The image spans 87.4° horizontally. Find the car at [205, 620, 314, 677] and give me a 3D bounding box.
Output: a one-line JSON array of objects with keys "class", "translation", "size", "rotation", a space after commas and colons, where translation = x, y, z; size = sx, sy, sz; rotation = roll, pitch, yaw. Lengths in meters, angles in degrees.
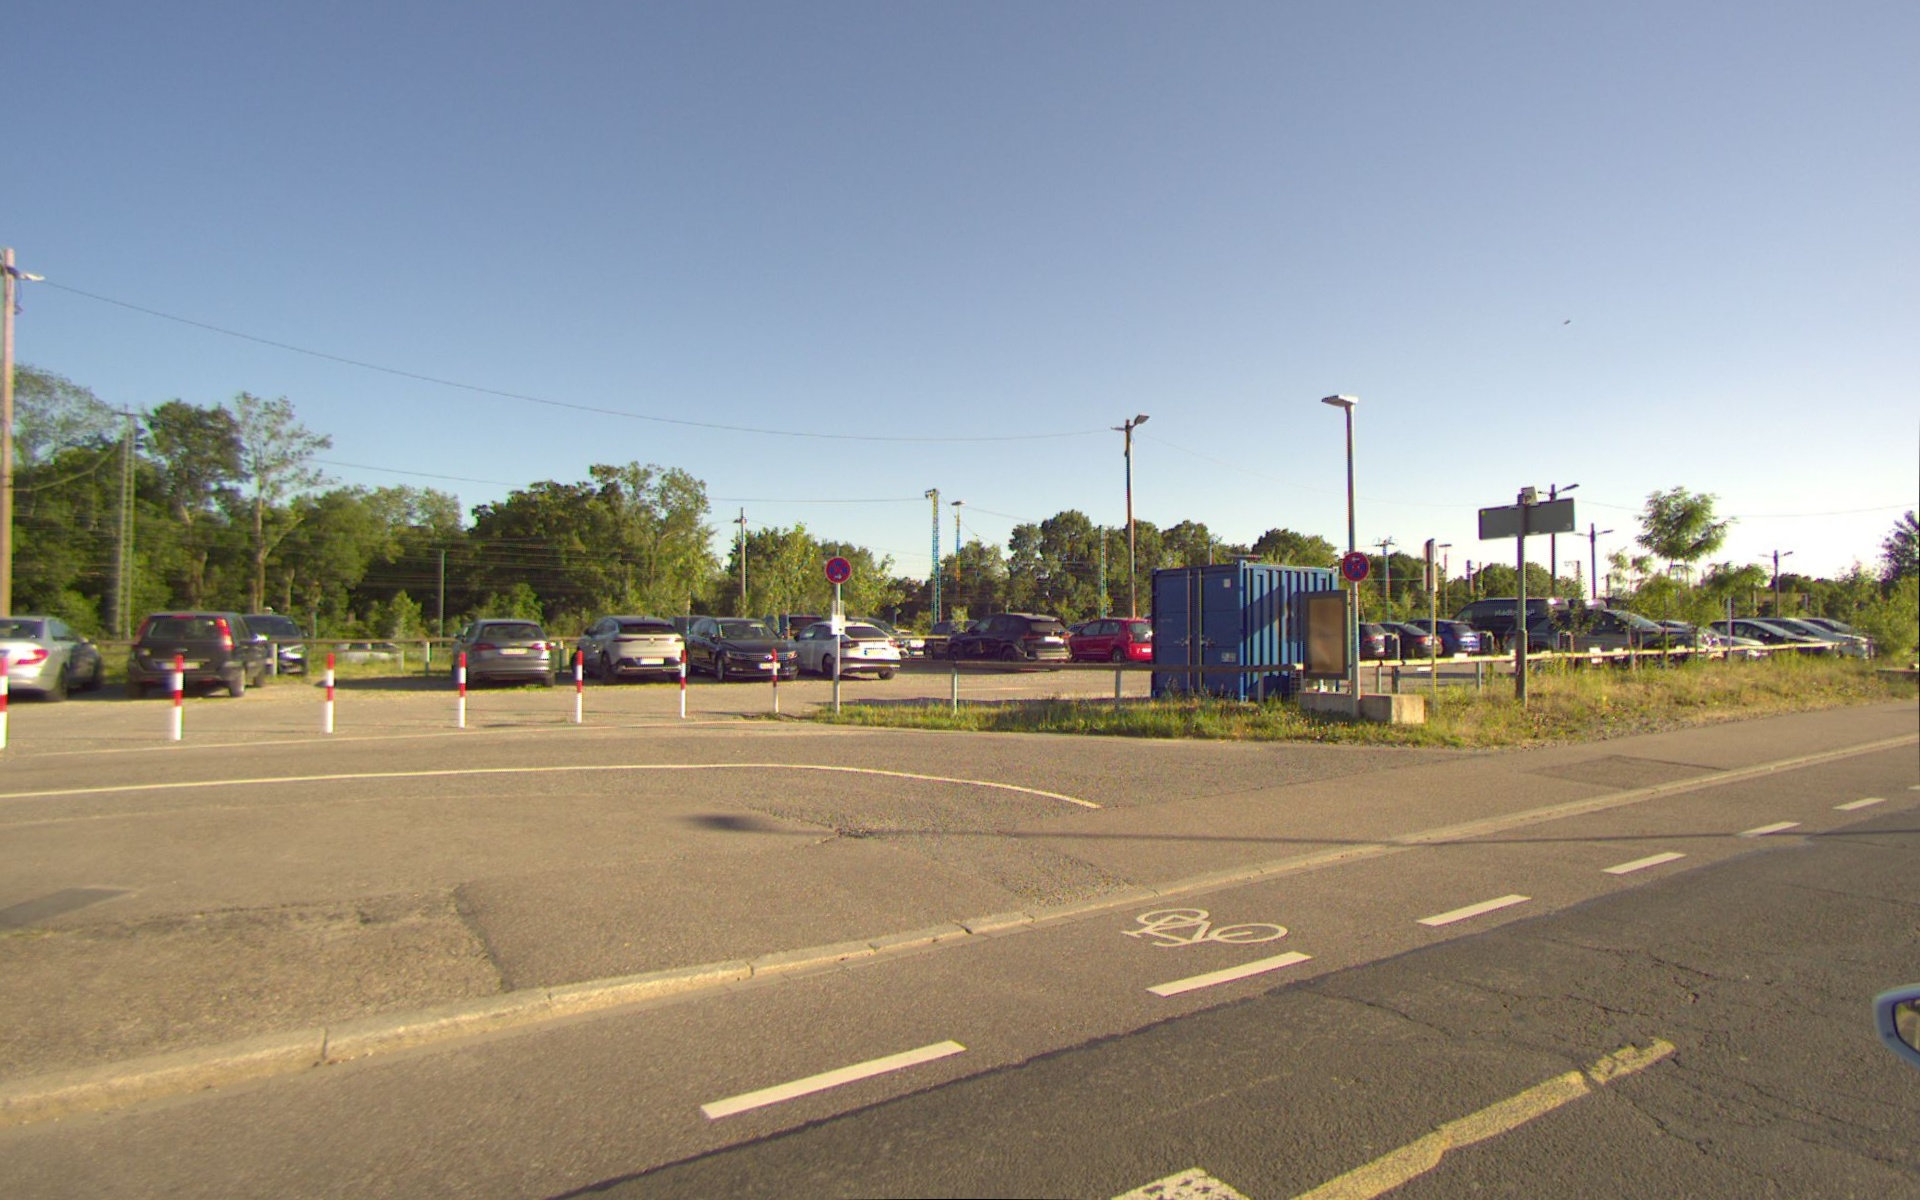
[{"class": "car", "translation": [-16.336, 1.085, 23.593], "size": [1.857, 1.203, 3.862], "rotation": [1, -1, -31]}]

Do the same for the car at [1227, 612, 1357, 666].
[{"class": "car", "translation": [11.922, 1.351, 36.304], "size": [1.858, 1.815, 4.298], "rotation": [1, -1, -32]}]

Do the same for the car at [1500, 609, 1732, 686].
[{"class": "car", "translation": [17.272, 1.181, 26.703], "size": [1.978, 1.859, 4.818], "rotation": [1, -1, -32]}]

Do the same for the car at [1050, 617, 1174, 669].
[{"class": "car", "translation": [4.746, 1.311, 31.818], "size": [1.858, 1.540, 3.861], "rotation": [1, -1, -32]}]

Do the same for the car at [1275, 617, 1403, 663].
[{"class": "car", "translation": [14.181, 1.449, 37.790], "size": [1.858, 1.639, 4.298], "rotation": [1, -1, -32]}]

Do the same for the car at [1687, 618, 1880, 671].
[{"class": "car", "translation": [26.635, 1.399, 32.647], "size": [1.858, 1.578, 4.517], "rotation": [1, -1, -32]}]

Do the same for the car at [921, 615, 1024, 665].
[{"class": "car", "translation": [0.385, 1.329, 34.724], "size": [1.856, 1.625, 3.864], "rotation": [1, -1, -30]}]

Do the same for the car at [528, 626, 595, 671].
[{"class": "car", "translation": [-14.929, 1.759, 37.516], "size": [1.734, 1.574, 3.703], "rotation": [1, -1, -31]}]

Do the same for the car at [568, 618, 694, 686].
[{"class": "car", "translation": [-7.878, 1.149, 23.798], "size": [1.858, 1.438, 4.298], "rotation": [1, -1, -32]}]

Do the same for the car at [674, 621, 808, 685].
[{"class": "car", "translation": [-5.440, 1.220, 24.553], "size": [1.858, 1.394, 4.298], "rotation": [1, -1, -32]}]

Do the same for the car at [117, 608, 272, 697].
[{"class": "car", "translation": [-14.442, 0.916, 19.184], "size": [1.857, 1.482, 4.300], "rotation": [1, -1, -31]}]

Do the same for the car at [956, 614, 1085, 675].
[{"class": "car", "translation": [1.674, 1.236, 28.989], "size": [1.858, 1.625, 3.861], "rotation": [1, -1, -32]}]

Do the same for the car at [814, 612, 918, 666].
[{"class": "car", "translation": [-3.082, 1.195, 32.319], "size": [1.787, 1.625, 3.861], "rotation": [1, -1, -32]}]

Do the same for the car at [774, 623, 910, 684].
[{"class": "car", "translation": [-3.160, 1.321, 26.121], "size": [1.858, 1.394, 4.298], "rotation": [1, -1, -32]}]

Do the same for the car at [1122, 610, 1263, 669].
[{"class": "car", "translation": [7.477, 1.240, 32.767], "size": [2.032, 1.764, 4.562], "rotation": [1, -1, -28]}]

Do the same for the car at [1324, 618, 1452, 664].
[{"class": "car", "translation": [16.462, 1.536, 38.846], "size": [1.858, 1.639, 4.298], "rotation": [1, -1, -32]}]

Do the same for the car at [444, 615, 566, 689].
[{"class": "car", "translation": [-10.041, 1.053, 21.995], "size": [1.858, 1.438, 4.298], "rotation": [1, -1, -32]}]

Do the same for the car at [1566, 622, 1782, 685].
[{"class": "car", "translation": [19.853, 1.426, 28.149], "size": [1.978, 1.578, 4.569], "rotation": [1, -1, -32]}]

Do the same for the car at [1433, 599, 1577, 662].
[{"class": "car", "translation": [23.010, 1.248, 42.591], "size": [2.294, 2.492, 4.899], "rotation": [1, -1, -32]}]

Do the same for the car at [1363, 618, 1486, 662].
[{"class": "car", "translation": [18.567, 1.549, 40.356], "size": [1.858, 1.639, 4.184], "rotation": [1, -1, -32]}]

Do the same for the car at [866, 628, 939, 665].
[{"class": "car", "translation": [-2.634, 2.046, 45.082], "size": [1.734, 1.514, 3.703], "rotation": [1, -1, -31]}]

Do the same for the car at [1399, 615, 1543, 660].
[{"class": "car", "translation": [20.883, 1.498, 41.262], "size": [2.143, 1.727, 4.899], "rotation": [1, -1, -32]}]

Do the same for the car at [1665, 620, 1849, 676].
[{"class": "car", "translation": [24.432, 1.429, 30.930], "size": [1.858, 1.578, 4.065], "rotation": [1, -1, -32]}]

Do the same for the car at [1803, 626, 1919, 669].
[{"class": "car", "translation": [35.832, 1.803, 39.010], "size": [1.858, 1.578, 4.401], "rotation": [1, -1, -32]}]

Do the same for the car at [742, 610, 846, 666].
[{"class": "car", "translation": [-5.170, 1.128, 30.986], "size": [1.857, 1.625, 3.862], "rotation": [1, -1, -31]}]

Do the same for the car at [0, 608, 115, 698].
[{"class": "car", "translation": [-16.320, 0.851, 17.416], "size": [1.857, 1.412, 4.300], "rotation": [1, -1, -31]}]
